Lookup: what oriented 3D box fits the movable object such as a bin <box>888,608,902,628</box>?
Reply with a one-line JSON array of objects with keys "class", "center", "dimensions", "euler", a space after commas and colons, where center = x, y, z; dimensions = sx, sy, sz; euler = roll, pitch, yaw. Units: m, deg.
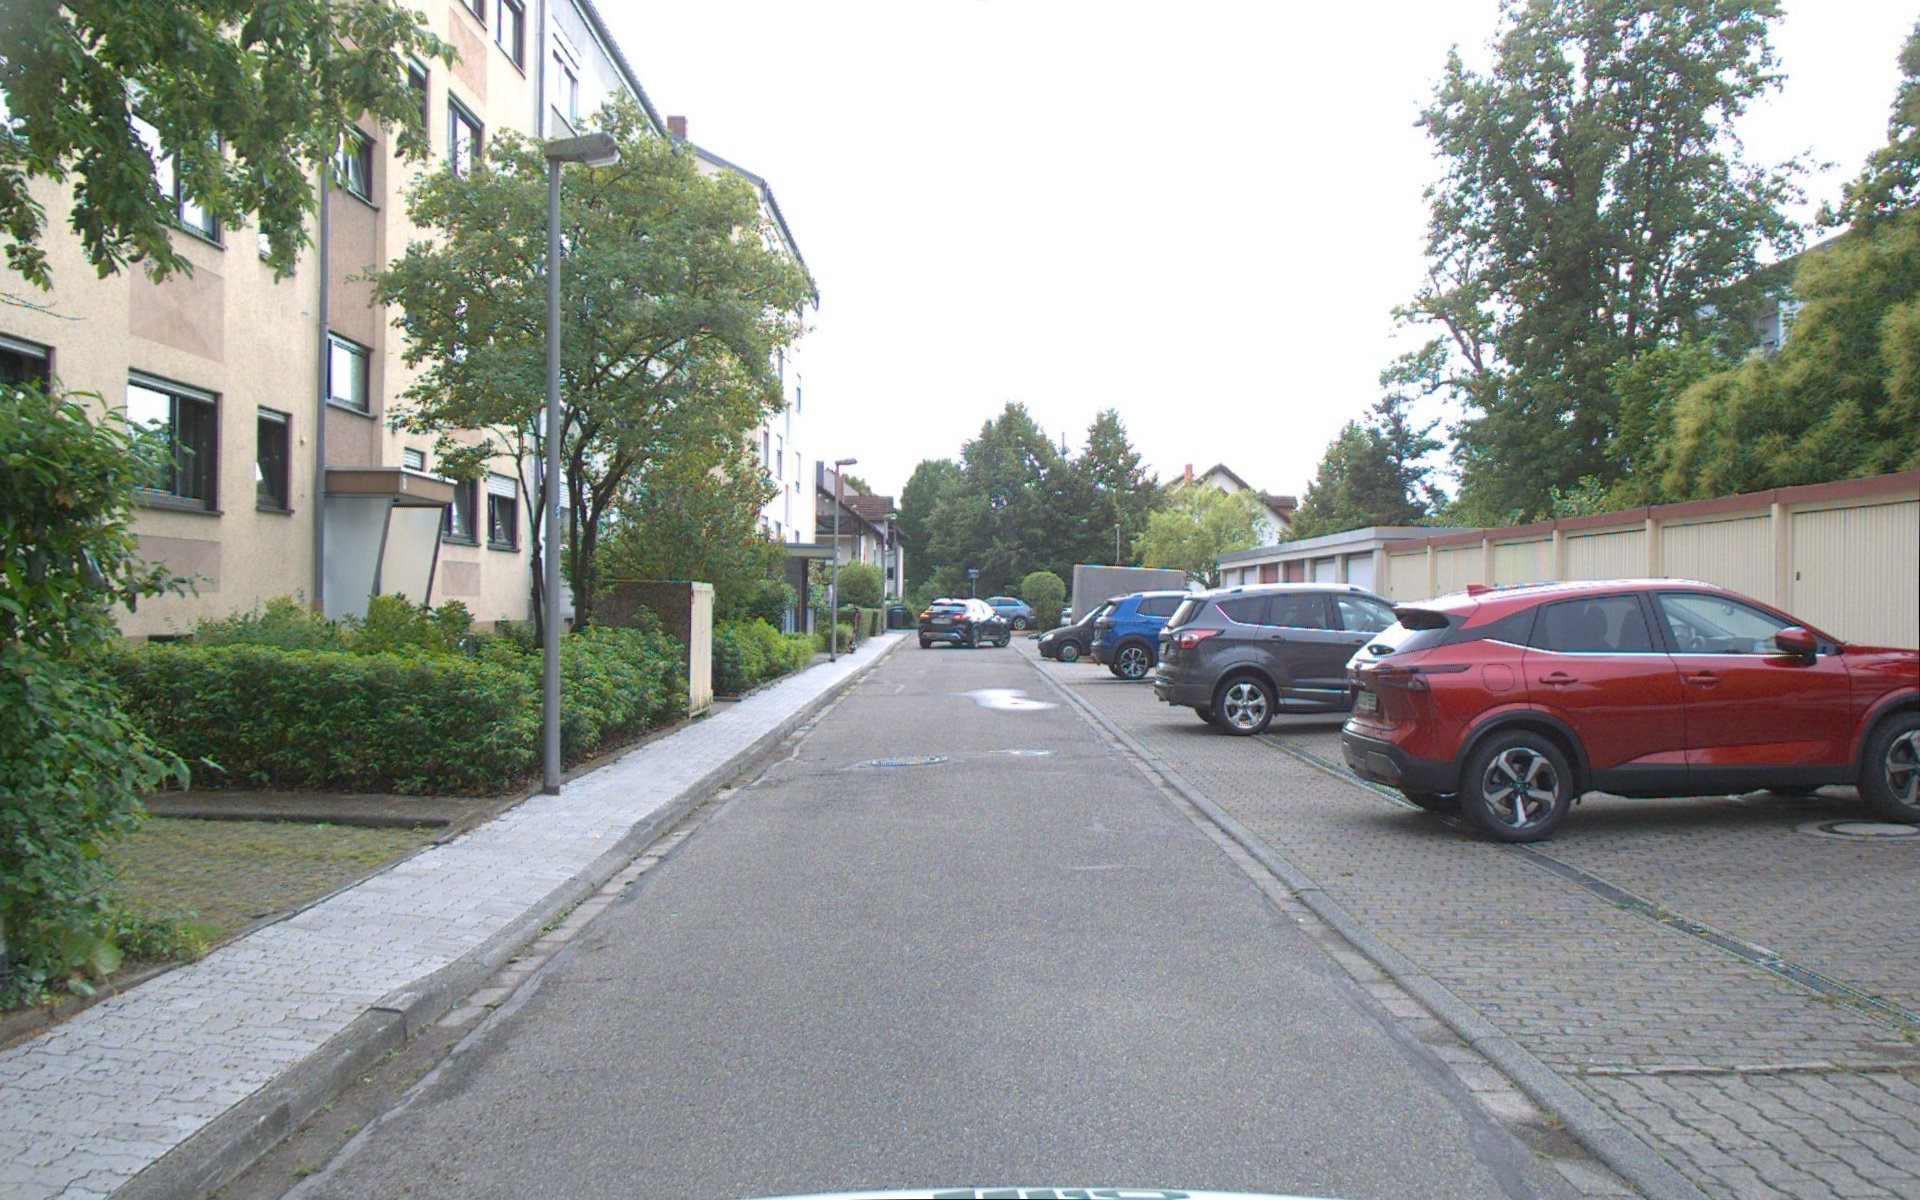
[{"class": "movable object such as a bin", "center": [-3.208, 0.869, 81.551], "dimensions": [0.625, 0.970, 0.723], "euler": [1, 0, -1]}]

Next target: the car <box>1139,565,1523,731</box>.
[{"class": "car", "center": [4.347, 0.544, 19.874], "dimensions": [4.110, 1.757, 2.000], "euler": [-2, 0, -1]}]

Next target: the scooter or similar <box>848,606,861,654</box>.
[{"class": "scooter or similar", "center": [-2.769, 0.768, 43.493], "dimensions": [0.267, 1.232, 1.164], "euler": [0, 0, -1]}]

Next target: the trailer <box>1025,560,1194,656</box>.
[{"class": "trailer", "center": [4.108, 0.215, 46.096], "dimensions": [4.515, 2.569, 1.942], "euler": [1, 0, 0]}]

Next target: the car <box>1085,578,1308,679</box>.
[{"class": "car", "center": [4.442, 0.520, 31.482], "dimensions": [3.906, 1.733, 2.000], "euler": [-2, 0, -1]}]

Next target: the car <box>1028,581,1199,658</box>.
[{"class": "car", "center": [3.986, 0.491, 43.408], "dimensions": [4.223, 1.833, 2.000], "euler": [-2, 0, -1]}]

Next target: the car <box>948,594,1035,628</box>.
[{"class": "car", "center": [1.499, 0.533, 79.469], "dimensions": [4.151, 1.558, 1.747], "euler": [1, -2, -1]}]

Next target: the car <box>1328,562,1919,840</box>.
[{"class": "car", "center": [4.848, 0.605, 11.274], "dimensions": [4.201, 1.613, 1.935], "euler": [-2, 0, -2]}]

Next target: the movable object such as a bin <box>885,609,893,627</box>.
[{"class": "movable object such as a bin", "center": [-3.551, 0.889, 83.206], "dimensions": [0.378, 0.905, 0.379], "euler": [1, 0, -3]}]

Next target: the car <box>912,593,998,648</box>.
[{"class": "car", "center": [-0.116, 0.600, 51.308], "dimensions": [1.951, 1.579, 4.004], "euler": [-2, 0, 10]}]

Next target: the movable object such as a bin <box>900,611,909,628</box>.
[{"class": "movable object such as a bin", "center": [-2.810, 0.982, 83.461], "dimensions": [0.450, 0.811, 0.379], "euler": [1, 0, -3]}]

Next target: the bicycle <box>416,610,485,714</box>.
[{"class": "bicycle", "center": [-5.796, 0.685, 18.872], "dimensions": [0.308, 1.070, 1.691], "euler": [0, 2, -2]}]

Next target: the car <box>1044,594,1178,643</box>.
[{"class": "car", "center": [5.112, 0.612, 56.402], "dimensions": [4.443, 1.616, 1.988], "euler": [0, 0, 1]}]

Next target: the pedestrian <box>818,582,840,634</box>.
[{"class": "pedestrian", "center": [-4.509, 0.268, 56.982], "dimensions": [0.665, 1.779, 0.756], "euler": [1, 0, -3]}]
